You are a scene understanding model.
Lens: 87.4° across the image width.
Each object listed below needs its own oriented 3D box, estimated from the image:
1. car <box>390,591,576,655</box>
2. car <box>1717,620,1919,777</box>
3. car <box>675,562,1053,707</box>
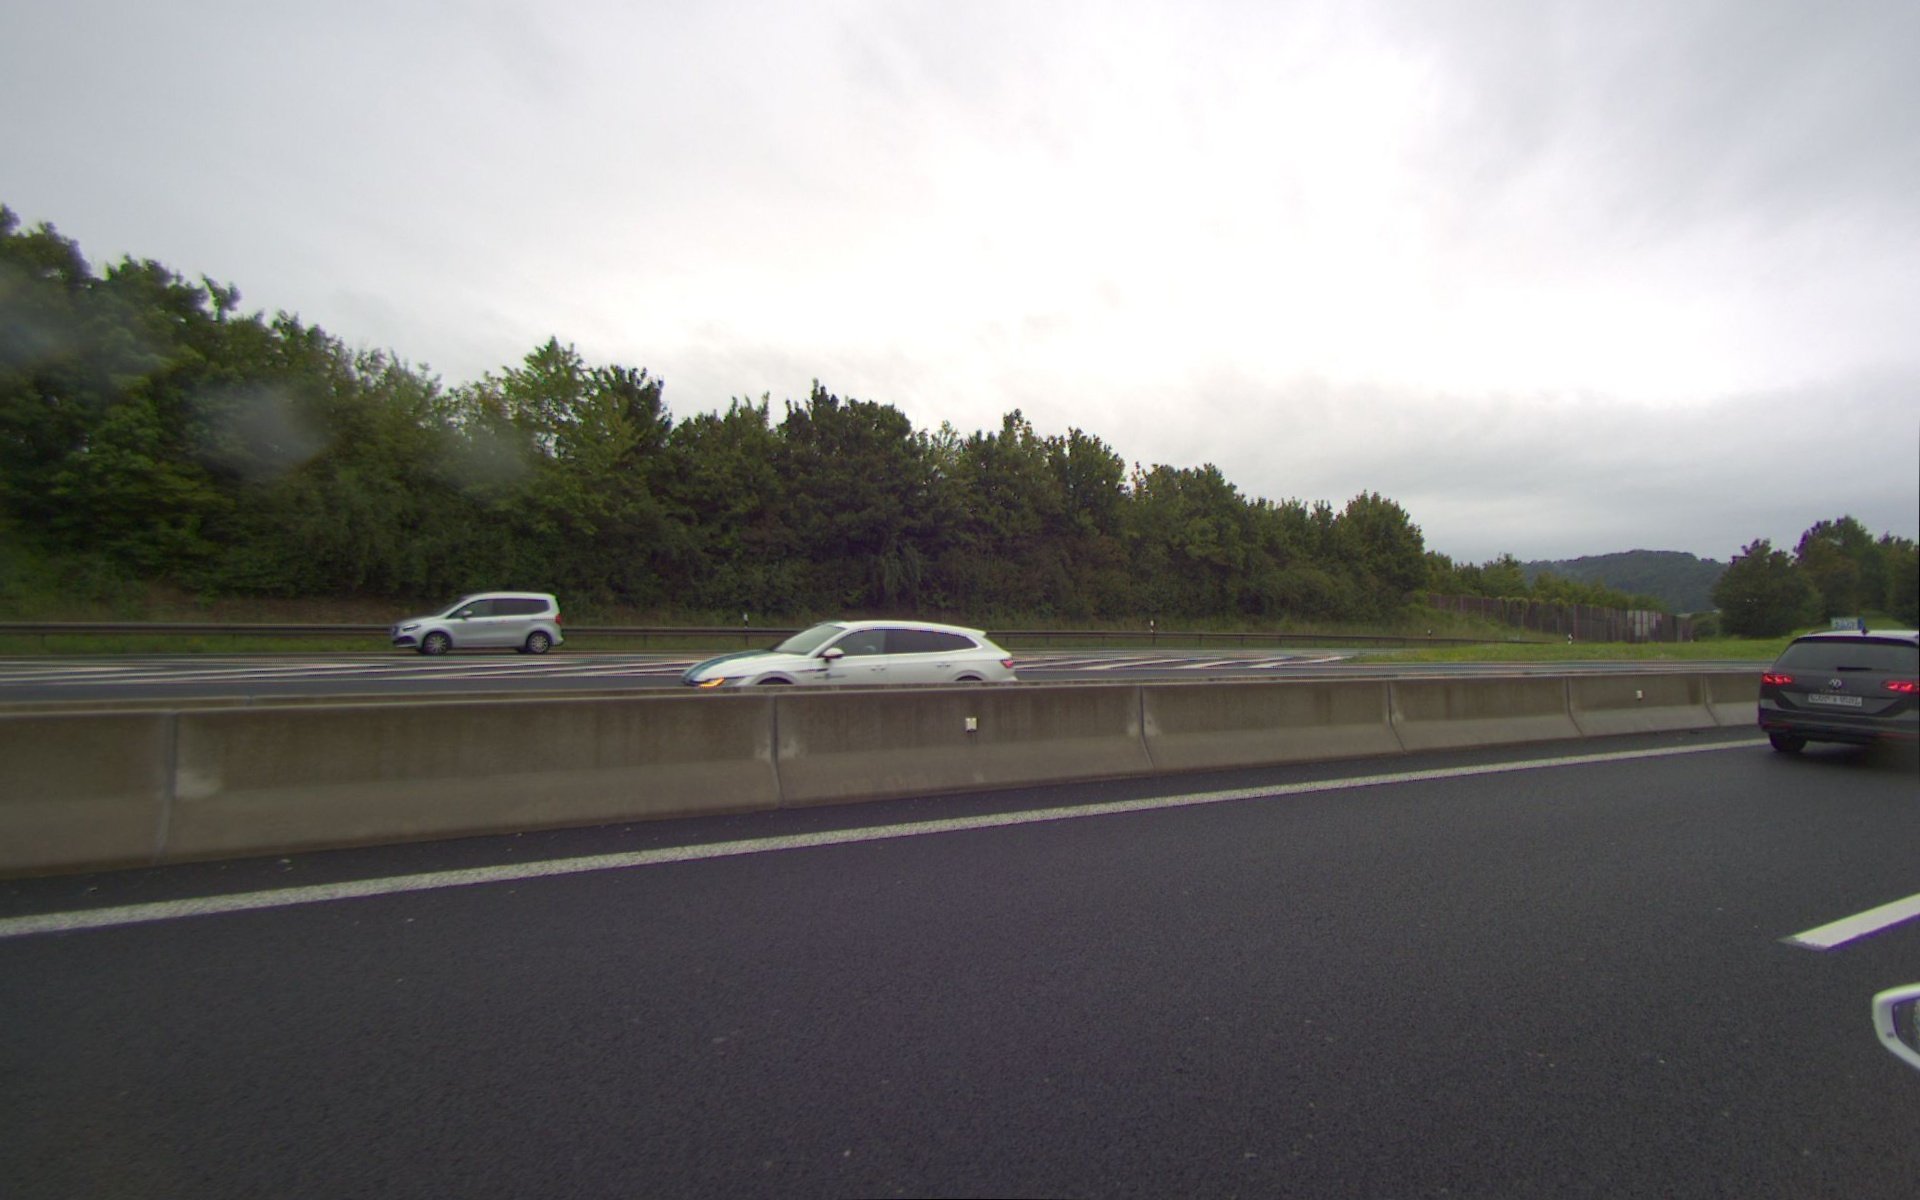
[{"bbox_3d":[-13.810,0.653,29.206,4.528,1.718,2.163,1,-1,-39],"label":"car"},{"bbox_3d":[11.134,1.048,11.774,4.794,1.517,1.892,2,-1,-30],"label":"car"},{"bbox_3d":[-1.311,0.463,13.998,4.802,1.718,2.172,1,-1,-28],"label":"car"}]
